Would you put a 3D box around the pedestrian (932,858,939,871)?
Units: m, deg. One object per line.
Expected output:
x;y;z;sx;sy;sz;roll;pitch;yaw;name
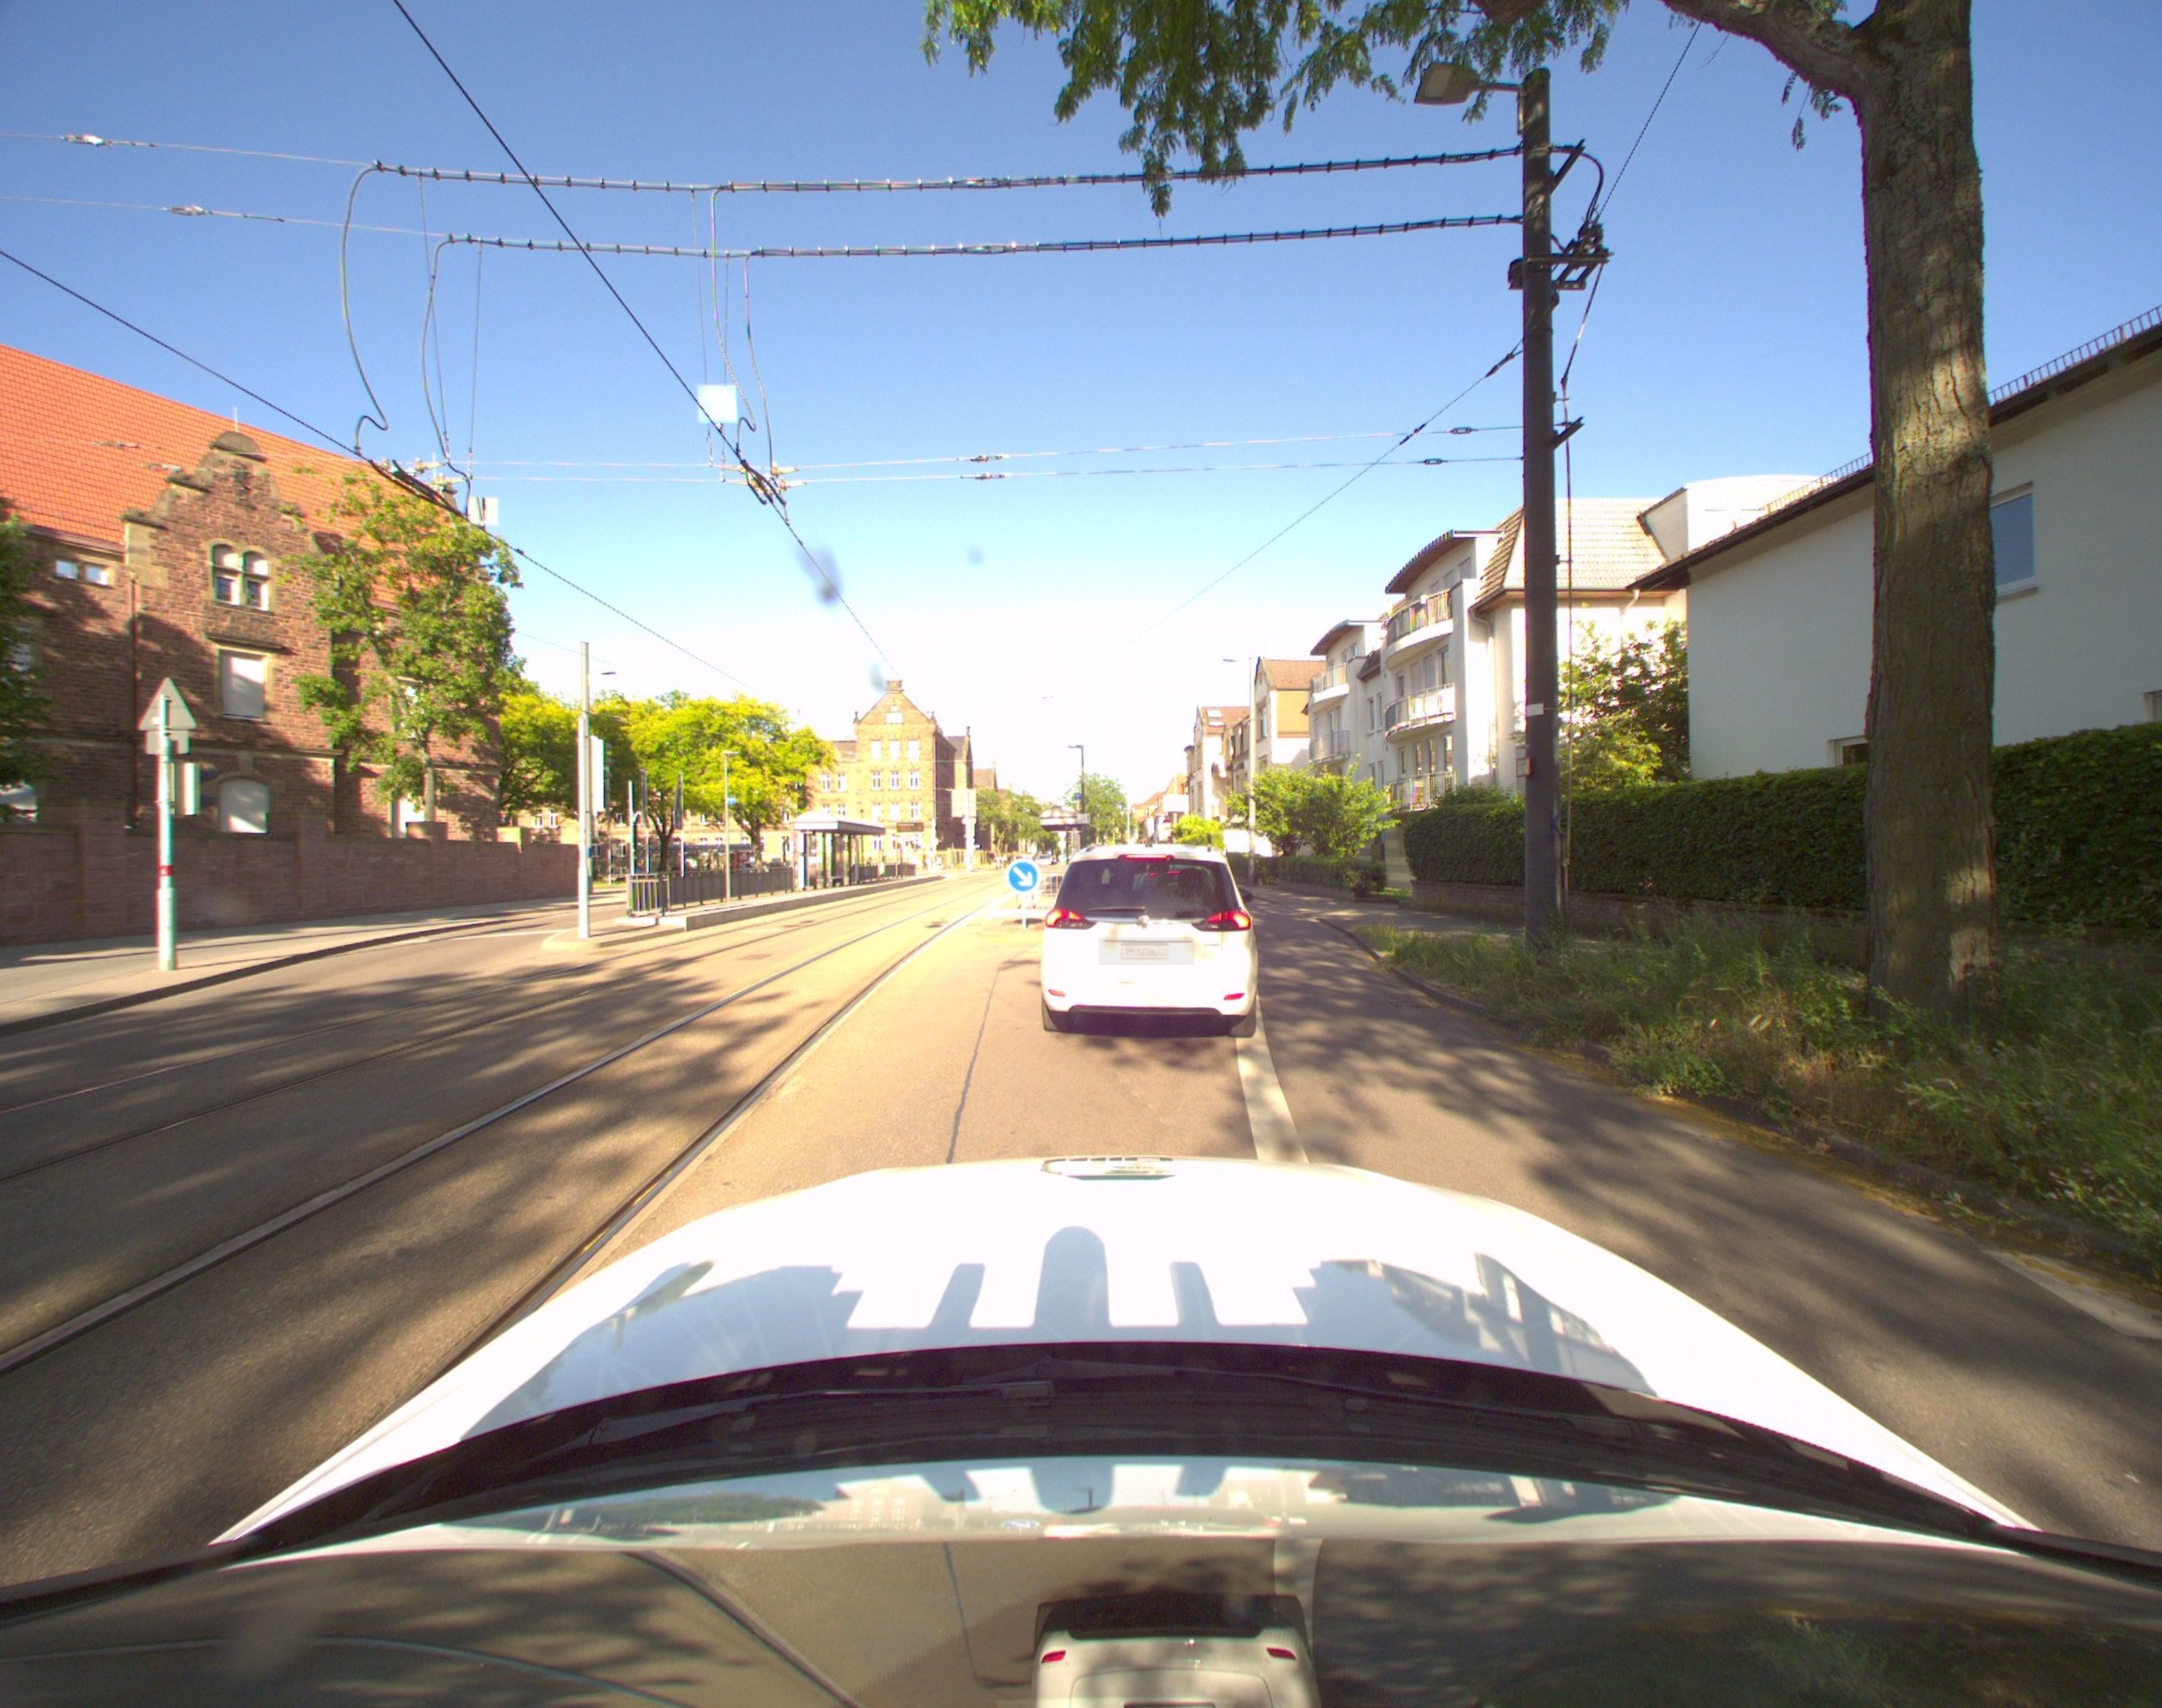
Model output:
-17.157;1.242;95.903;0.651;1.612;0.712;0;-1;4;pedestrian

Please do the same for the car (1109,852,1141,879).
2.841;0.745;53.179;1.901;1.661;4.000;-1;0;0;car

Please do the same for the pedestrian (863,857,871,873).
-23.446;1.198;89.241;0.768;1.774;0.717;0;-1;-15;pedestrian

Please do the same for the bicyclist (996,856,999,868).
-10.667;1.042;103.496;0.312;1.444;0.384;-1;0;1;bicyclist

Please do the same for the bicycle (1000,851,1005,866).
-10.562;0.584;109.658;0.485;2.013;1.406;-1;0;2;bicycle

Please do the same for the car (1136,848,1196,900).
2.975;0.649;28.342;1.897;1.661;4.007;-1;0;6;car

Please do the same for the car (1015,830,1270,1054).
0.761;0.664;8.142;1.896;1.661;4.010;-1;0;9;car

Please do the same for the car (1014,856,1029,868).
-8.333;1.099;114.116;1.740;1.716;4.001;0;-1;2;car

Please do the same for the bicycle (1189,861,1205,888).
5.013;0.874;35.204;0.621;1.097;1.977;-1;0;6;bicycle

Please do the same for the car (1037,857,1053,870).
-4.710;1.241;107.669;1.740;1.716;4.001;0;-1;2;car

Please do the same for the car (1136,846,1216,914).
2.624;0.636;21.713;1.896;1.624;4.010;-1;0;9;car

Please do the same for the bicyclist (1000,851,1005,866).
-10.569;0.584;109.620;0.496;2.013;0.572;-1;0;1;bicyclist

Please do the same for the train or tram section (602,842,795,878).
-37.845;0.563;81.142;17.346;3.154;3.344;-1;-1;-3;train or tram section

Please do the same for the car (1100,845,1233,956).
1.559;0.687;13.865;1.896;1.597;4.010;-1;0;9;car

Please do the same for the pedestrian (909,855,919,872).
-18.422;1.022;89.644;0.802;1.901;0.747;-1;-1;16;pedestrian

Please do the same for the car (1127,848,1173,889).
2.996;0.613;36.186;1.899;1.661;4.003;-1;0;3;car

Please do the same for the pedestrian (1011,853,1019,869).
-7.851;0.791;97.402;0.744;1.901;0.804;0;-1;-23;pedestrian

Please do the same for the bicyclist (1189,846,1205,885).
5.000;0.488;35.198;0.613;1.686;0.780;-1;0;6;bicyclist

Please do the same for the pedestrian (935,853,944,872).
-15.556;0.922;89.532;0.801;2.014;0.713;0;-1;-35;pedestrian

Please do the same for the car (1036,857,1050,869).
-5.373;1.271;115.548;1.740;1.716;4.001;0;-1;2;car

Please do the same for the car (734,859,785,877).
-29.654;1.303;75.210;3.976;1.630;1.817;0;-1;-2;car

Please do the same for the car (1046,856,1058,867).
-4.606;1.163;129.394;1.740;1.716;4.001;0;-1;2;car

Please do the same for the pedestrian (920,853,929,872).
-17.064;0.928;88.945;0.800;2.014;0.713;0;-1;-32;pedestrian

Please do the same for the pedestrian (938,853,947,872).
-14.553;0.855;85.512;0.796;2.014;0.717;0;-1;-15;pedestrian

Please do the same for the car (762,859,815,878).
-25.447;1.228;70.968;3.976;1.630;1.817;0;-1;-2;car
